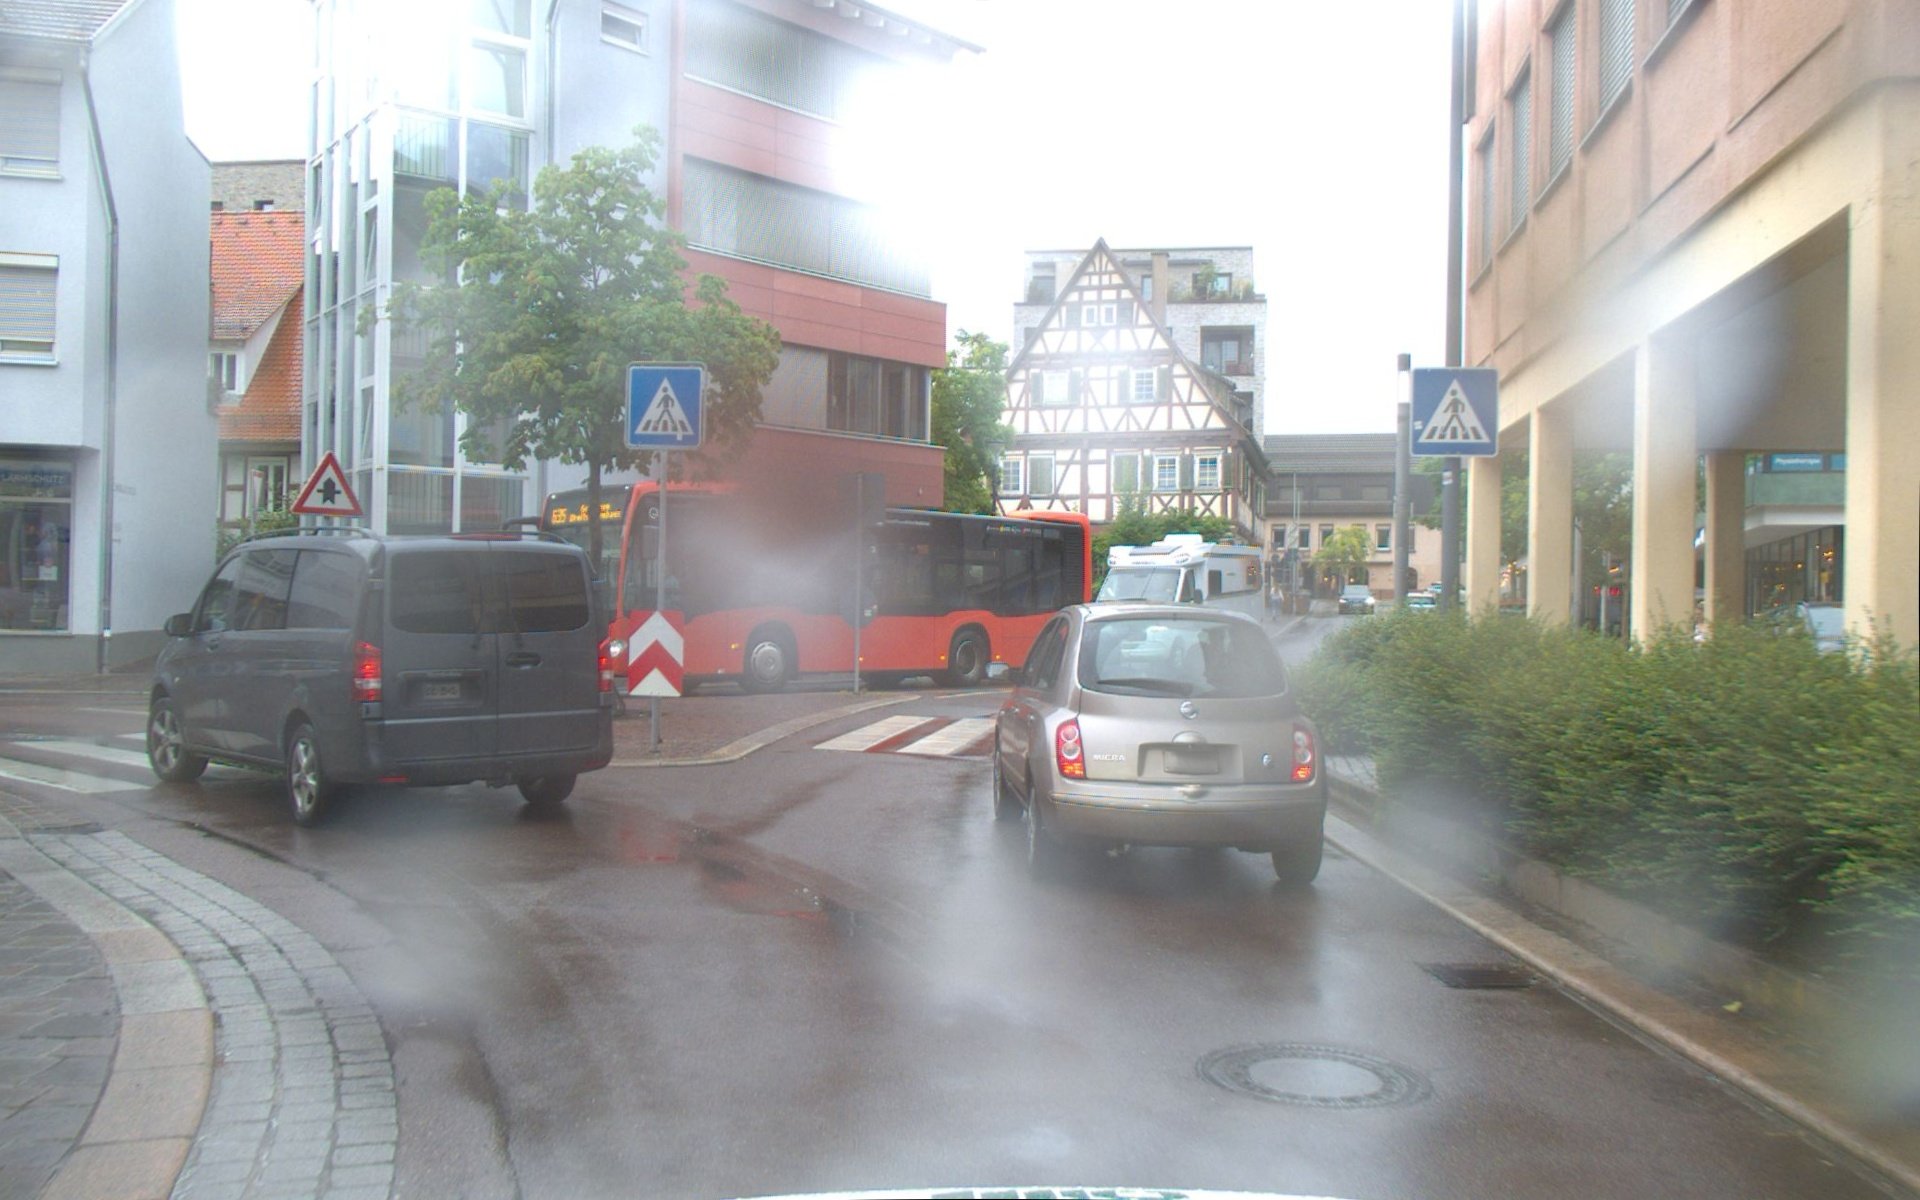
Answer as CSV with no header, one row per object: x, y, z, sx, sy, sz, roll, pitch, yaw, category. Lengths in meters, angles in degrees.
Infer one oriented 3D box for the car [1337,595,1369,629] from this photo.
20.818,0.649,87.554,1.553,1.743,3.323,0,0,15,car

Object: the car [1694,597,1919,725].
9.982,0.644,19.131,1.725,1.298,4.475,0,0,10,car

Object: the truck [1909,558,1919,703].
12.747,0.375,19.186,1.725,1.840,4.003,0,0,10,truck

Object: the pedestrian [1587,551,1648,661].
10.304,0.097,25.911,0.685,1.690,0.817,0,-1,39,pedestrian

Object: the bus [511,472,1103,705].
-1.996,-0.225,27.150,2.773,3.142,10.539,2,2,43,bus

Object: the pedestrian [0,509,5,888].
-4.233,0.537,6.303,0.651,1.838,1.059,0,-1,-8,pedestrian

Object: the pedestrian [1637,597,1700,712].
10.878,0.824,25.383,0.712,1.719,0.729,0,-1,41,pedestrian

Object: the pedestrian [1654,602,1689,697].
11.679,0.802,27.167,0.486,1.535,0.491,0,-1,19,pedestrian

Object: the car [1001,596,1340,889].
1.135,0.730,10.212,1.492,1.496,3.339,0,0,-3,car

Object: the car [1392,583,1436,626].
18.872,0.193,68.696,1.639,1.743,3.322,0,0,17,car

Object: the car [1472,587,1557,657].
13.263,0.509,39.708,1.589,1.527,4.003,-2,-1,14,car

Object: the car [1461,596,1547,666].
11.524,0.635,34.961,1.505,1.386,3.373,-1,0,22,car

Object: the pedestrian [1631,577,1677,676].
12.574,0.474,29.987,0.718,1.779,0.893,0,-1,19,pedestrian

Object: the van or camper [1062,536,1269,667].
4.718,0.041,36.733,2.391,2.631,6.742,1,0,27,van or camper

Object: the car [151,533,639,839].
-4.352,0.462,12.213,1.934,1.812,4.661,1,1,-39,car
